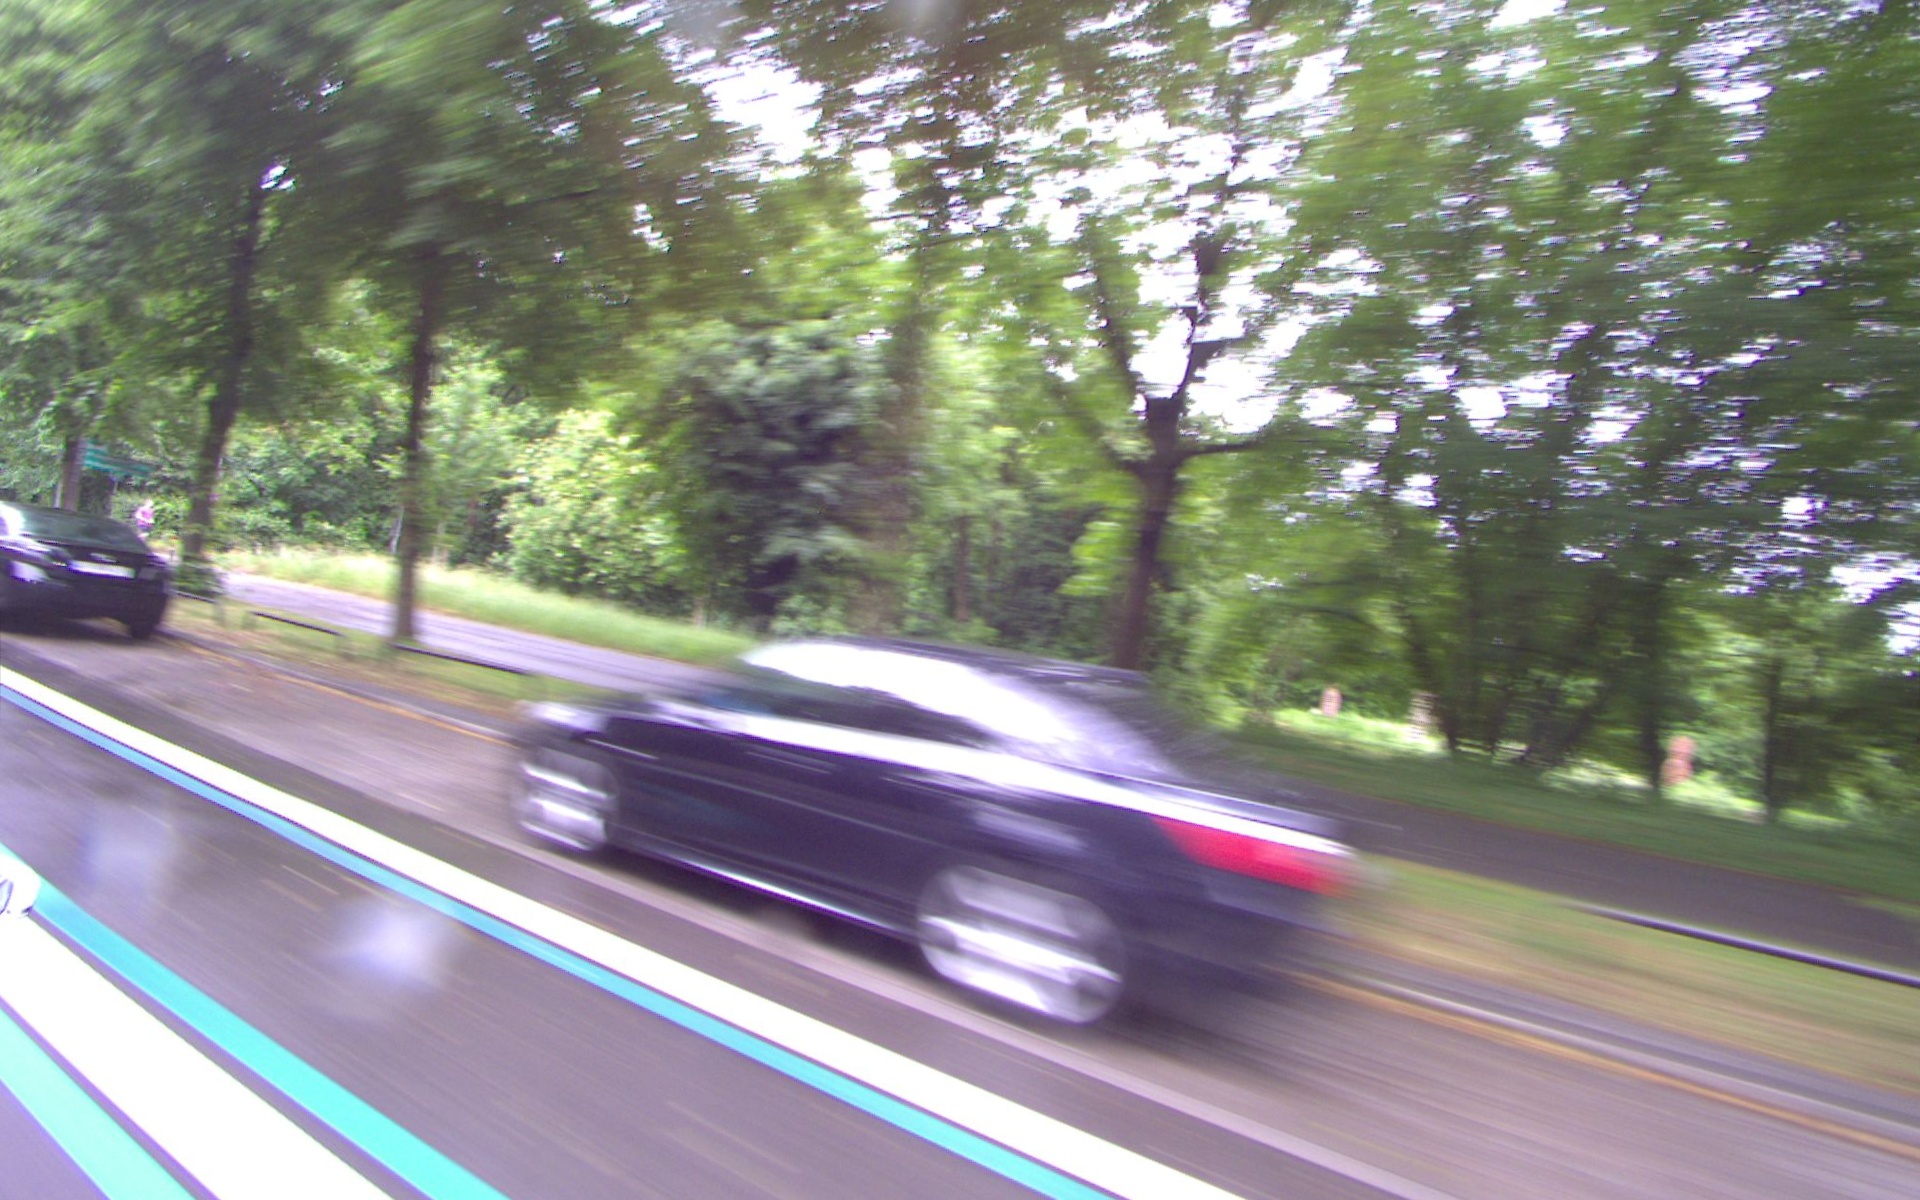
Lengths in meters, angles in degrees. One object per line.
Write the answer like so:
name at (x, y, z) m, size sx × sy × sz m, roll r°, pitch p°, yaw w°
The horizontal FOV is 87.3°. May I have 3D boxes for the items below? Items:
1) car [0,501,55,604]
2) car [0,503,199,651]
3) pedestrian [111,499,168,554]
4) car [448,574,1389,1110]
car at (-16.270, -0.980, 15.966) m, size 4.782 × 1.456 × 1.759 m, roll 6°, pitch -2°, yaw 36°
car at (-11.737, -0.420, 12.759) m, size 4.686 × 1.435 × 1.703 m, roll 6°, pitch -3°, yaw 33°
pedestrian at (-29.472, -2.629, 36.148) m, size 1.124 × 1.753 × 0.890 m, roll 8°, pitch -1°, yaw 3°
car at (-0.449, 0.882, 5.422) m, size 4.765 × 1.423 × 1.785 m, roll 7°, pitch -2°, yaw 32°
